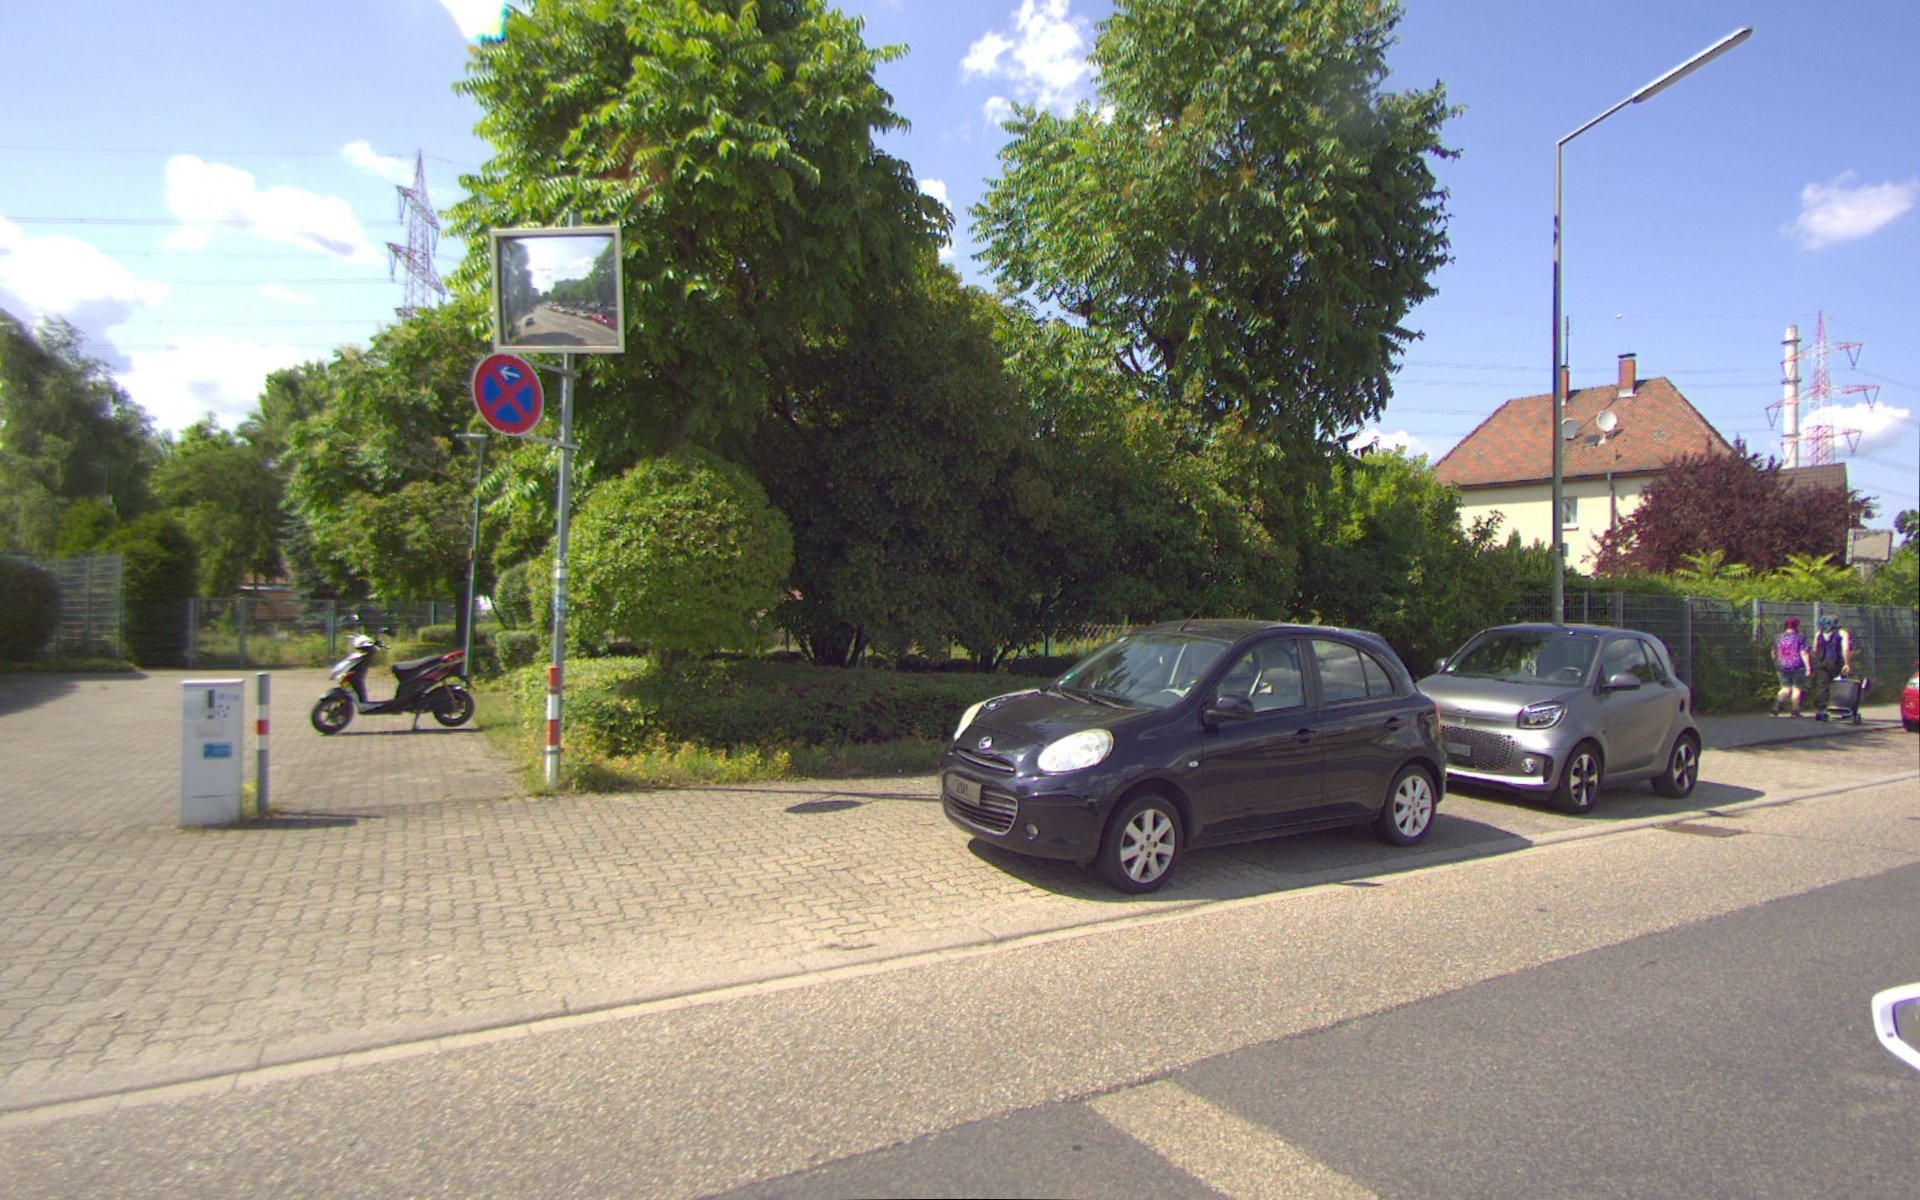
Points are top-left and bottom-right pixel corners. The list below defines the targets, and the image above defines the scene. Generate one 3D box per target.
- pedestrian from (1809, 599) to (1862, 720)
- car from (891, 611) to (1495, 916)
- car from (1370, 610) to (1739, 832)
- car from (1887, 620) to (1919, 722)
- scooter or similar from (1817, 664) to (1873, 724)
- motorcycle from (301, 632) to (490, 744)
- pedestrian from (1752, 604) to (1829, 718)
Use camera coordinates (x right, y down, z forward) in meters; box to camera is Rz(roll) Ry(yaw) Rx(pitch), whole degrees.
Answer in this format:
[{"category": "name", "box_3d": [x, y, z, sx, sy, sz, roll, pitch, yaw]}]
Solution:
[{"category": "pedestrian", "box_3d": [14.201, 0.953, 16.295, 0.669, 1.919, 0.448, 1, -1, -30]}, {"category": "car", "box_3d": [1.696, 0.888, 7.070, 3.953, 1.528, 1.836, 1, 2, -31]}, {"category": "car", "box_3d": [5.588, 0.966, 9.398, 3.237, 1.667, 1.641, 1, 2, -32]}, {"category": "car", "box_3d": [15.915, 1.076, 15.247, 3.698, 1.486, 1.659, 1, 0, -29]}, {"category": "scooter or similar", "box_3d": [13.924, 1.466, 15.802, 0.702, 0.899, 0.469, 1, -1, -30]}, {"category": "motorcycle", "box_3d": [-6.652, 1.002, 11.920, 1.917, 1.236, 0.530, 1, -1, -31]}, {"category": "pedestrian", "box_3d": [13.740, 0.990, 16.620, 0.905, 1.825, 0.705, 1, -1, -30]}]
